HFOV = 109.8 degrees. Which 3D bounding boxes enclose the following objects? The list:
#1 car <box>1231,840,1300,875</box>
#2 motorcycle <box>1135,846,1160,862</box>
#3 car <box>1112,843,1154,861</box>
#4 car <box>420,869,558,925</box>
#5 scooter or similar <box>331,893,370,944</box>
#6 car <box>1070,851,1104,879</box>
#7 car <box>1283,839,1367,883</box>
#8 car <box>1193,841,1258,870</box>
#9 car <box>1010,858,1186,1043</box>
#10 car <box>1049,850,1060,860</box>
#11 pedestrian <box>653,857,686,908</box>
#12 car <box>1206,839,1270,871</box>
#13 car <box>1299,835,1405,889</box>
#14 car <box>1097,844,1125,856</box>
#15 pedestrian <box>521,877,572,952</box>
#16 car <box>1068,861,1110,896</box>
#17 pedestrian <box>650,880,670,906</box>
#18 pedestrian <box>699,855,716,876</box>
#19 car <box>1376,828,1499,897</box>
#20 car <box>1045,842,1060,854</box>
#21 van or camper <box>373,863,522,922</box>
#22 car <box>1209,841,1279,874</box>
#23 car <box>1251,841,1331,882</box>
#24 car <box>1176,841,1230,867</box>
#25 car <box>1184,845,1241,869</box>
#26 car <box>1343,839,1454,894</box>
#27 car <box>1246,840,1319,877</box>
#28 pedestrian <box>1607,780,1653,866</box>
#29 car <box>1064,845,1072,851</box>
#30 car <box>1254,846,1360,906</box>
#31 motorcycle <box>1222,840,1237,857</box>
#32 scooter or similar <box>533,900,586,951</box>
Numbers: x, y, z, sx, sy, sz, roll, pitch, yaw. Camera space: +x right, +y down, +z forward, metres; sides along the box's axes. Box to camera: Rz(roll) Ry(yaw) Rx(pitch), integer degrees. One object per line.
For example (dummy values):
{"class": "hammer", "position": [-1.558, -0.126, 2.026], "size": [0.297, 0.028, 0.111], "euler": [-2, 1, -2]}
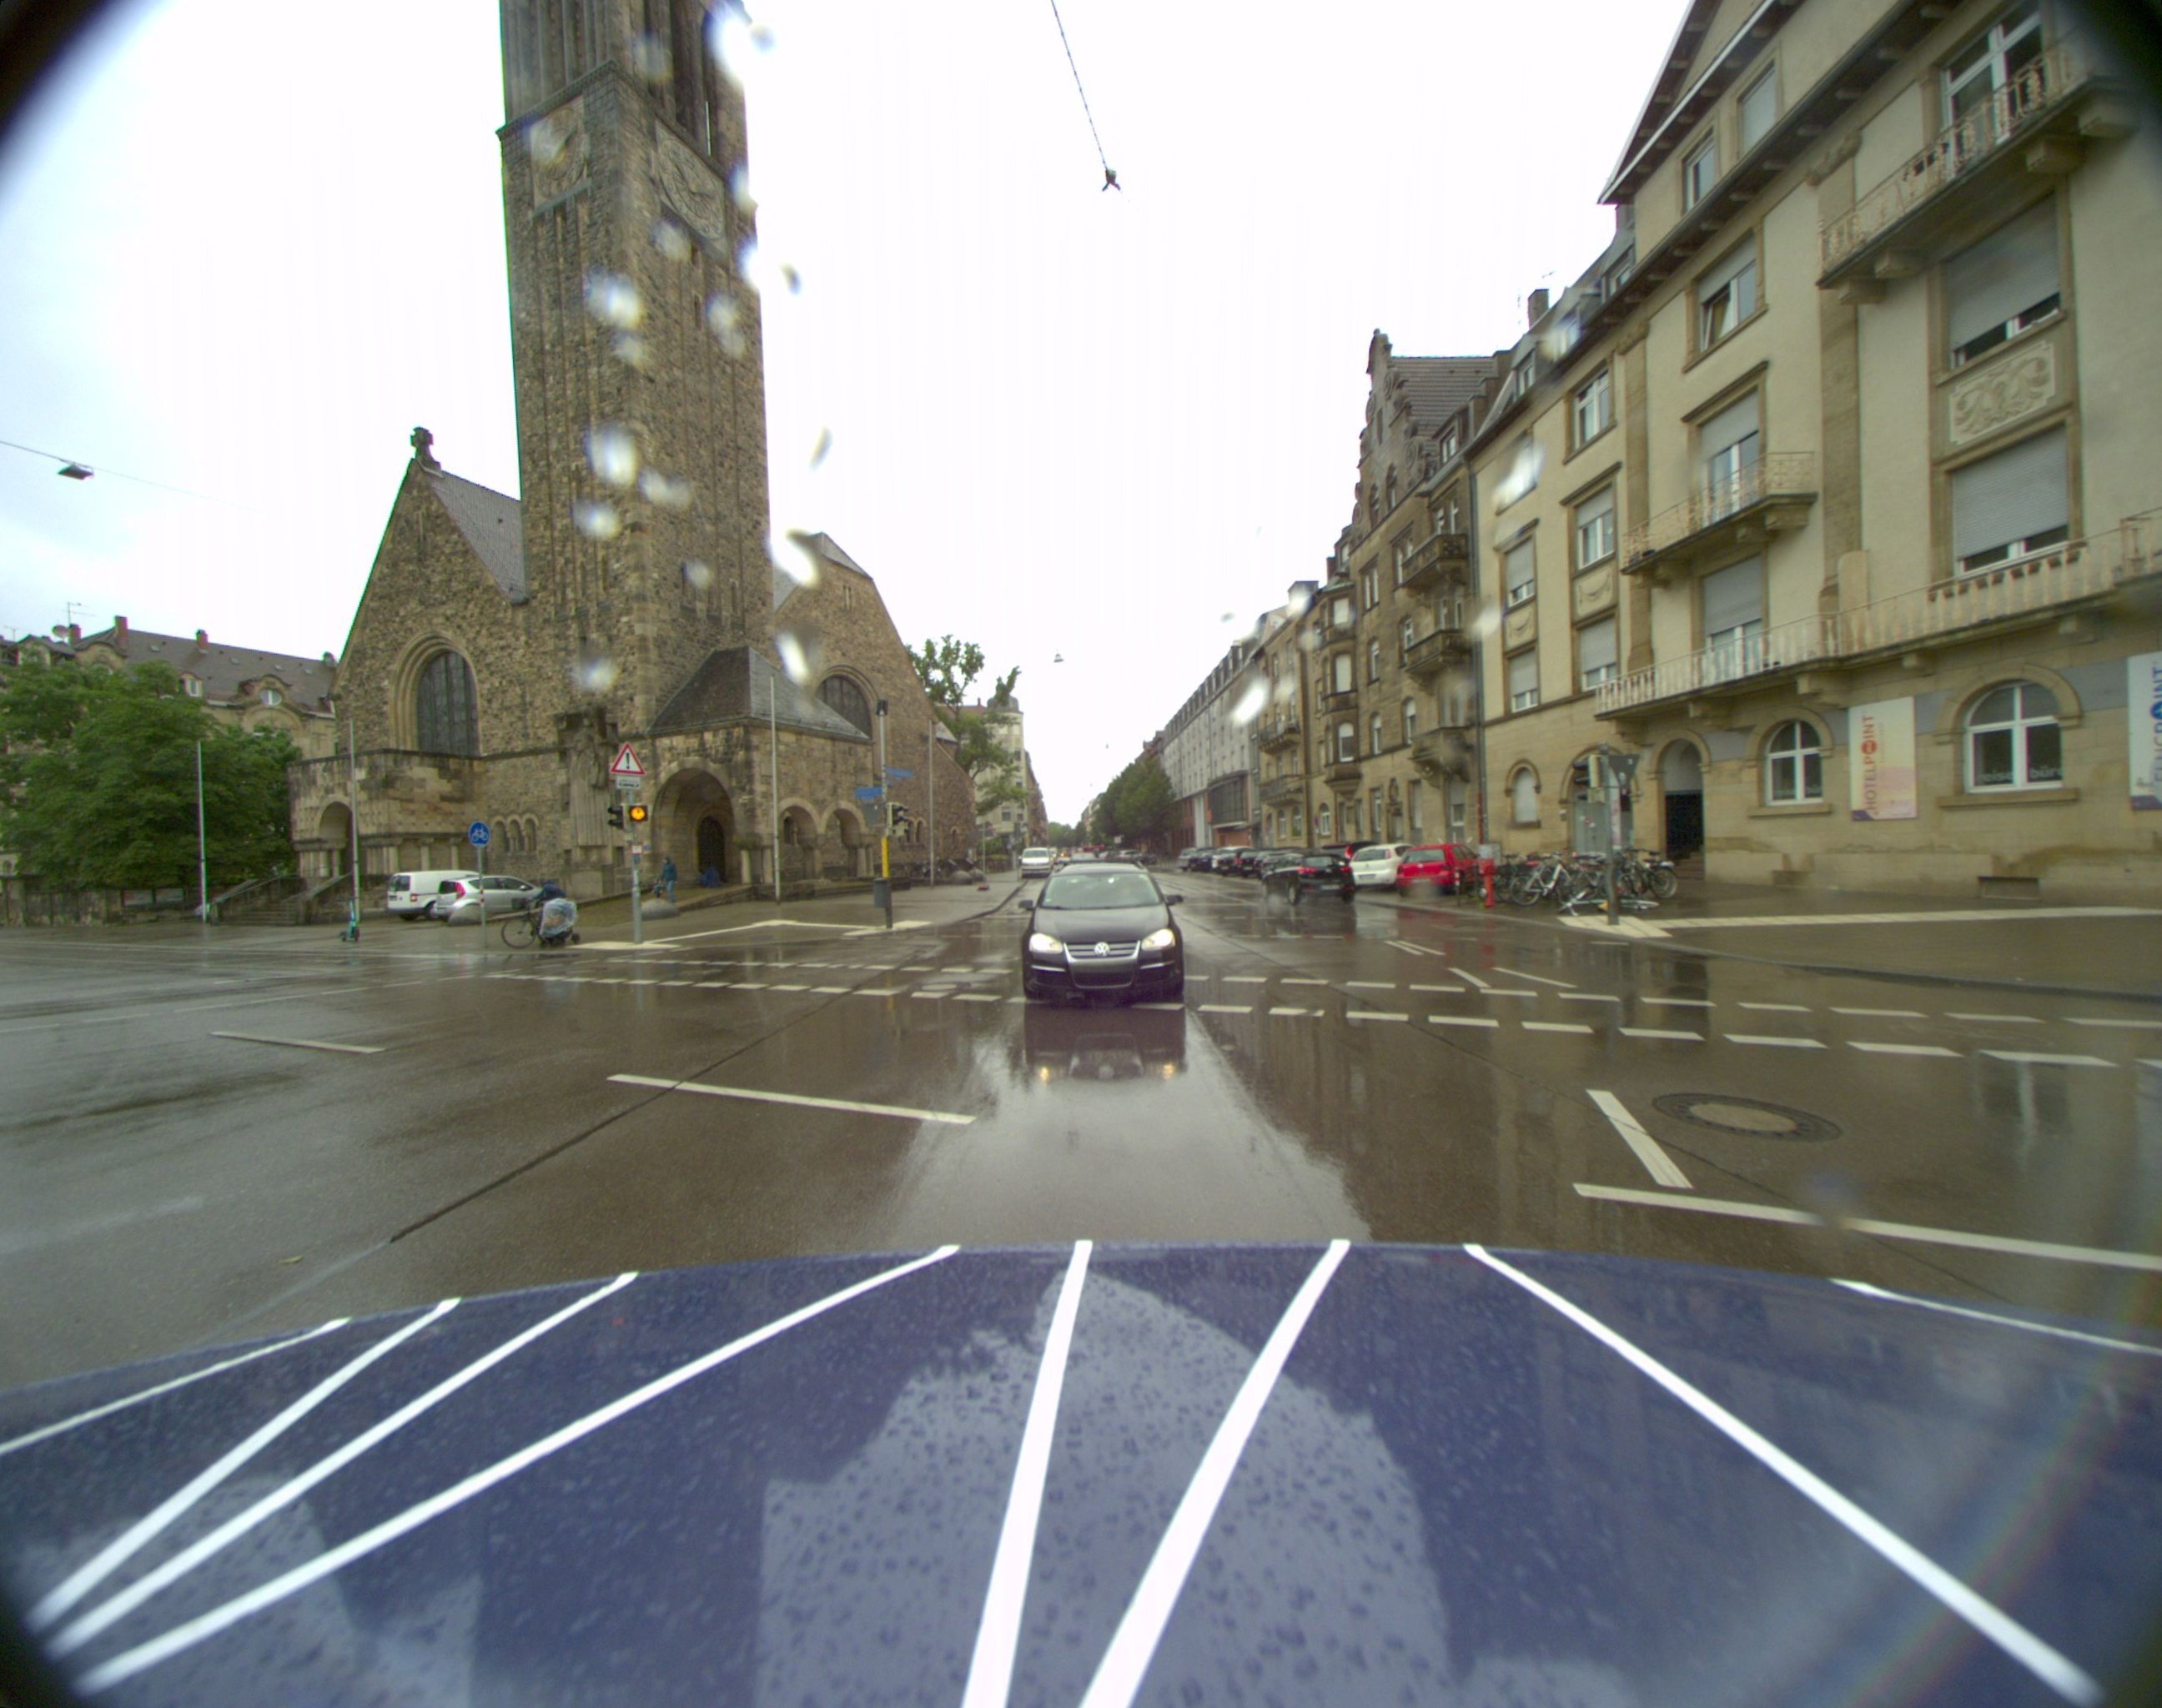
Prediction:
{"class": "car", "position": [9.801, 0.185, 40.229], "size": [3.765, 1.535, 1.624], "euler": [-5, 1, -41]}
{"class": "motorcycle", "position": [6.314, 0.012, 71.918], "size": [2.255, 1.302, 0.758], "euler": [-4, 1, -1]}
{"class": "car", "position": [5.629, -0.223, 81.995], "size": [4.005, 1.804, 1.995], "euler": [-2, 1, -28]}
{"class": "car", "position": [-21.230, 1.498, 27.381], "size": [1.732, 1.566, 3.361], "euler": [-2, 4, 25]}
{"class": "scooter or similar", "position": [-20.273, 1.787, 21.073], "size": [1.101, 1.379, 0.287], "euler": [-2, 1, 21]}
{"class": "car", "position": [0.301, 0.566, 42.742], "size": [1.766, 1.430, 3.747], "euler": [-2, 1, -1]}
{"class": "car", "position": [10.134, 0.283, 31.512], "size": [3.316, 1.516, 1.697], "euler": [-5, 1, -39]}
{"class": "car", "position": [9.390, 0.054, 49.286], "size": [3.732, 1.519, 1.897], "euler": [-6, 3, -32]}
{"class": "car", "position": [0.119, 0.879, 8.894], "size": [1.547, 1.553, 4.069], "euler": [-2, 1, -1]}
{"class": "car", "position": [-3.368, 0.126, 96.623], "size": [1.356, 1.285, 3.012], "euler": [-2, 1, -1]}
{"class": "pedestrian", "position": [-14.171, 0.975, 26.161], "size": [0.633, 1.693, 0.679], "euler": [-2, 1, 19]}
{"class": "car", "position": [9.645, 0.049, 46.478], "size": [3.733, 1.617, 1.774], "euler": [-5, 1, -39]}
{"class": "car", "position": [10.030, 0.272, 27.976], "size": [4.092, 1.682, 1.760], "euler": [-5, 1, -40]}
{"class": "car", "position": [4.515, -0.553, 114.598], "size": [3.803, 1.705, 1.904], "euler": [-2, 1, -11]}
{"class": "pedestrian", "position": [-12.297, 1.376, 17.492], "size": [0.604, 1.654, 0.689], "euler": [-2, 1, 2]}
{"class": "car", "position": [0.257, 0.934, 30.183], "size": [1.547, 1.214, 3.607], "euler": [-2, 1, -1]}
{"class": "pedestrian", "position": [-15.001, 1.392, 27.065], "size": [0.455, 0.879, 0.397], "euler": [-2, 1, 19]}
{"class": "pedestrian", "position": [-16.119, 0.508, 32.789], "size": [0.396, 0.879, 0.457], "euler": [-2, 1, 22]}
{"class": "car", "position": [10.526, 0.207, 22.301], "size": [4.005, 1.500, 1.799], "euler": [-9, 5, -42]}
{"class": "car", "position": [-3.852, -0.806, 103.769], "size": [1.922, 1.471, 4.219], "euler": [-2, 1, -1]}
{"class": "van or camper", "position": [-24.121, 1.431, 29.112], "size": [1.645, 1.719, 3.933], "euler": [-2, 4, 22]}
{"class": "car", "position": [9.294, 0.186, 43.211], "size": [3.733, 1.535, 1.774], "euler": [-5, 1, -36]}
{"class": "car", "position": [9.420, 0.336, 34.012], "size": [3.435, 1.535, 1.697], "euler": [-5, 1, -40]}
{"class": "car", "position": [8.839, 0.009, 54.988], "size": [3.930, 1.720, 1.811], "euler": [-2, 1, -42]}
{"class": "car", "position": [9.007, 0.188, 51.914], "size": [3.734, 1.519, 1.713], "euler": [-2, 1, -36]}
{"class": "car", "position": [10.552, 0.382, 25.122], "size": [4.001, 1.525, 1.700], "euler": [-4, 1, -40]}
{"class": "car", "position": [9.924, 0.234, 37.355], "size": [3.449, 1.535, 1.624], "euler": [-5, 1, -37]}
{"class": "pedestrian", "position": [15.320, -0.842, 21.232], "size": [0.846, 2.326, 0.765], "euler": [-2, 1, 21]}
{"class": "car", "position": [-3.600, -1.832, 217.575], "size": [1.998, 1.705, 4.375], "euler": [-2, 1, 3]}
{"class": "car", "position": [6.492, 0.575, 22.224], "size": [1.748, 1.537, 3.777], "euler": [-2, 1, -4]}
{"class": "motorcycle", "position": [12.953, -0.468, 66.232], "size": [0.777, 1.455, 2.362], "euler": [-2, 1, -1]}
{"class": "scooter or similar", "position": [-11.875, 1.614, 17.321], "size": [0.514, 1.042, 0.924], "euler": [-2, 1, 1]}
